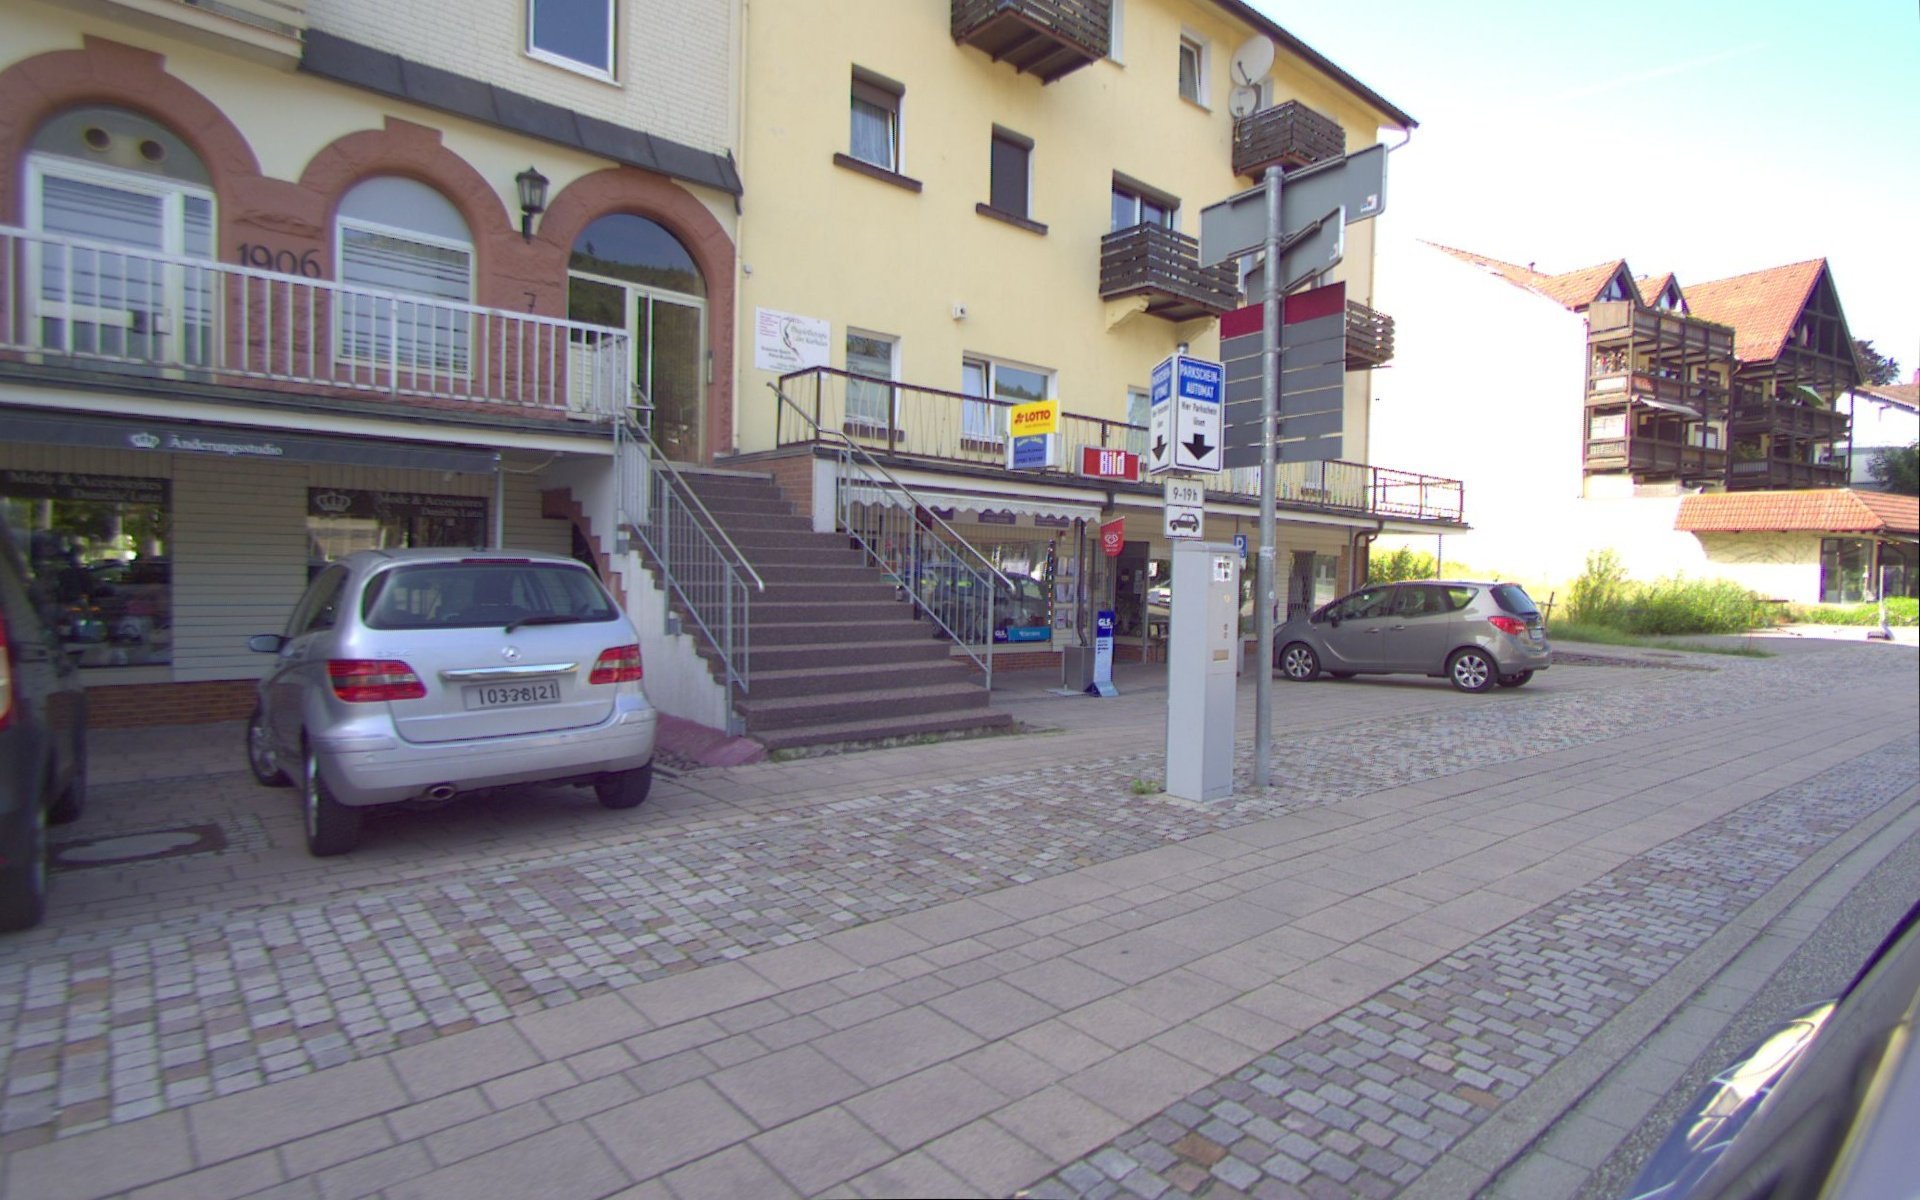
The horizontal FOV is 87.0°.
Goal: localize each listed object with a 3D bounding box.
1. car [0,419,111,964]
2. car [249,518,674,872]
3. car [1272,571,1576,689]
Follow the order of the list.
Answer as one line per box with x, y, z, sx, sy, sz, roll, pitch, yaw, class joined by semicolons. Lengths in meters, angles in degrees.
-5.031;0.348;4.461;1.824;1.827;3.918;-1;-1;-38;car
-3.503;0.451;6.693;1.742;1.609;3.918;1;-1;-38;car
6.950;0.409;15.458;1.730;1.574;3.865;0;-1;-41;car
